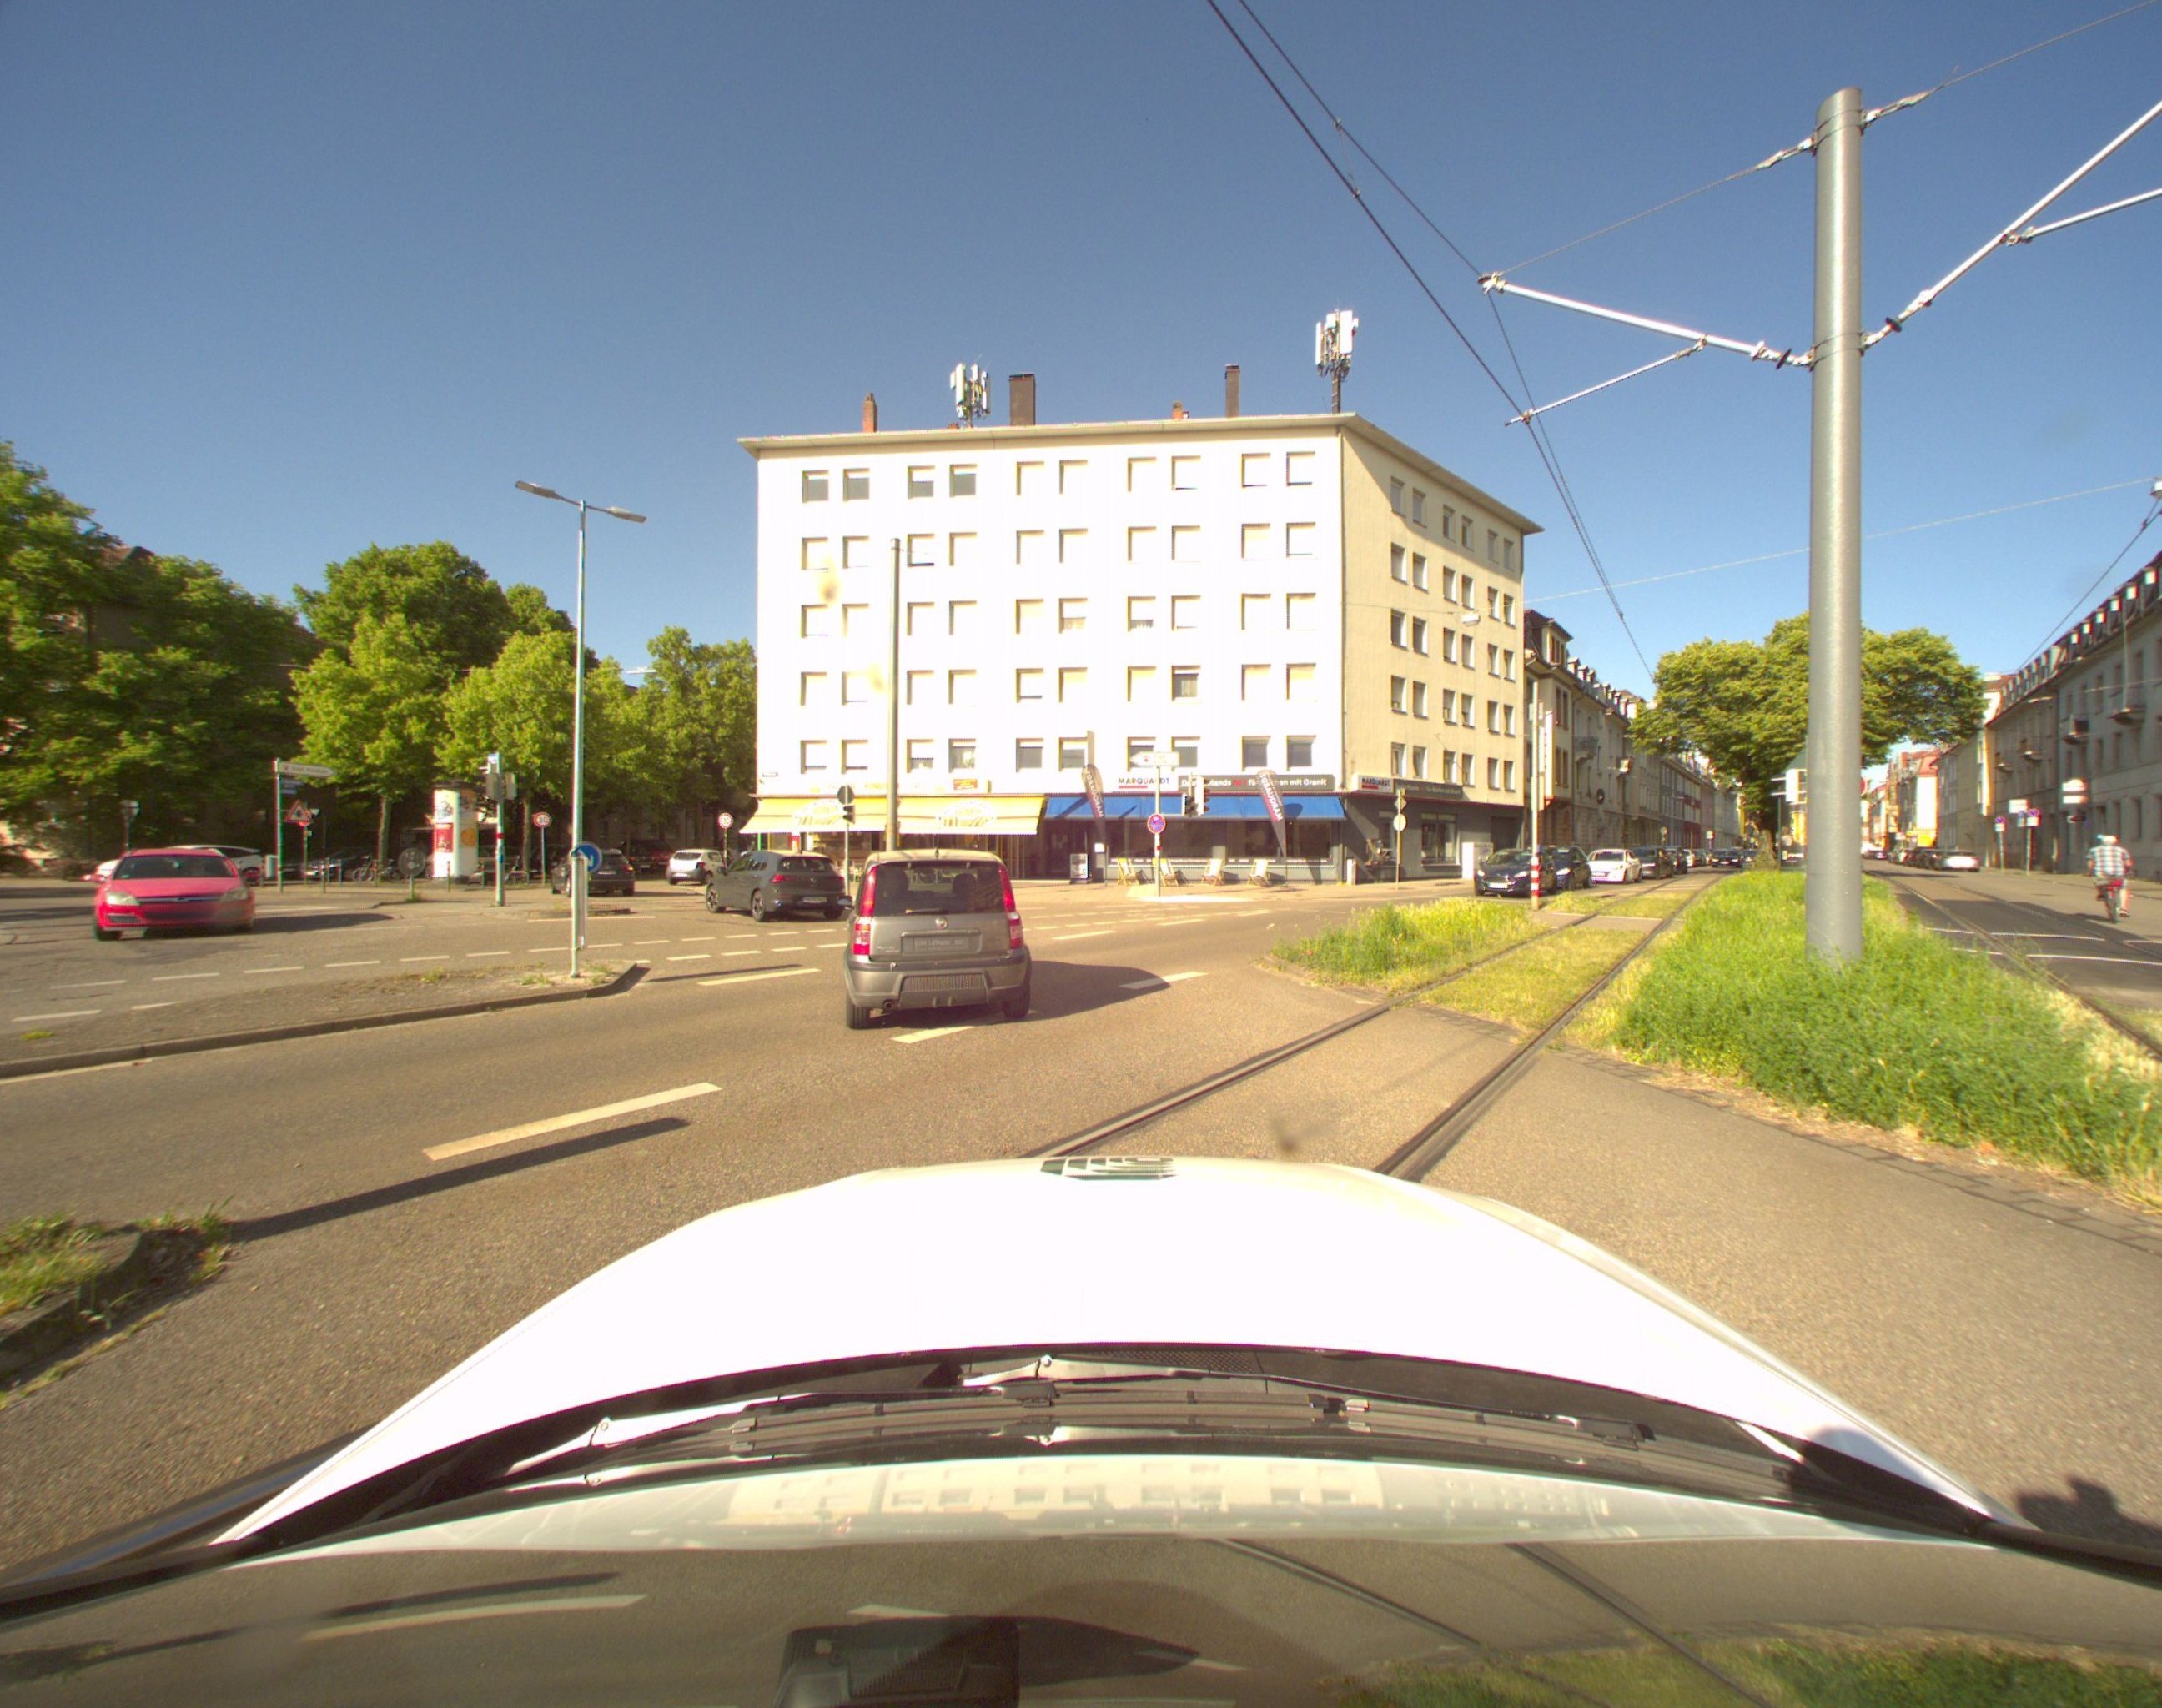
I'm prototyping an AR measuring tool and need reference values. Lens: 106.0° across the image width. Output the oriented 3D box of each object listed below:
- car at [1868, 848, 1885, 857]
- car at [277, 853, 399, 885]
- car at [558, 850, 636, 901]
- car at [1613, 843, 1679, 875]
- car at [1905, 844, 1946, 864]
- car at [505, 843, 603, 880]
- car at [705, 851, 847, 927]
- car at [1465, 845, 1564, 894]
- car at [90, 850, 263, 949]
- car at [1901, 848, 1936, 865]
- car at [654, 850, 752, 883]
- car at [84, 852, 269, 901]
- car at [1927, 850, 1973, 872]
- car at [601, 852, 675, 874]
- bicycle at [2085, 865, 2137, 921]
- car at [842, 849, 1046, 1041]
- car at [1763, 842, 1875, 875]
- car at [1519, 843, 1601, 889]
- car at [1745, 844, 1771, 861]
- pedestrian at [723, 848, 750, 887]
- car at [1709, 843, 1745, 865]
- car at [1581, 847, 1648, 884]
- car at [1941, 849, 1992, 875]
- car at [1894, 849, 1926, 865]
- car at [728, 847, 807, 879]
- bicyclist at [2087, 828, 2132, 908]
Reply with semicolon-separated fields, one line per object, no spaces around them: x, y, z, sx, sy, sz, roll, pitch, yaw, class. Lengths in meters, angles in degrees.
112.899;-0.220;115.578;1.661;1.366;3.718;1;1;45;car
-32.224;0.622;35.470;1.585;1.293;3.712;0;1;9;car
-15.787;0.633;26.456;1.774;1.486;4.246;0;1;-37;car
27.477;0.207;39.554;1.975;1.473;4.023;1;1;45;car
65.940;-0.009;63.671;1.917;1.468;4.025;1;2;42;car
-23.809;0.325;36.870;3.284;1.602;1.671;0;1;1;car
-6.604;0.659;17.448;1.635;1.429;3.644;0;1;-42;car
13.434;0.424;25.149;1.773;1.395;3.747;0;1;43;car
-16.340;0.694;14.647;4.485;1.489;1.766;0;1;38;car
76.109;0.215;74.022;1.917;1.468;4.025;1;2;42;car
-16.301;0.493;35.340;1.982;1.310;4.009;0;1;8;car
-33.122;0.751;30.012;1.749;1.617;4.240;1;1;11;car
63.262;0.448;59.362;1.917;1.468;4.025;1;2;42;car
-25.212;0.486;46.429;3.461;1.190;1.648;0;1;-40;car
20.637;0.755;16.341;1.867;1.032;0.582;-1;1;-40;bicycle
-1.514;0.708;8.241;1.663;1.510;3.234;0;0;-15;car
36.919;0.189;40.899;1.901;1.593;3.994;0;1;-4;car
17.393;0.397;29.523;1.773;1.565;3.789;0;1;43;car
72.187;-0.199;86.780;1.975;1.750;4.024;0;1;42;car
-14.756;0.564;34.864;0.789;1.621;0.829;0;0;-3;pedestrian
52.124;-0.013;65.687;1.975;1.750;4.024;0;1;42;car
22.694;0.452;34.601;1.773;1.482;3.553;0;1;43;car
59.063;0.535;54.364;1.975;1.618;4.024;1;0;43;car
80.271;0.298;78.876;1.917;1.468;4.025;1;2;42;car
-15.750;0.419;41.159;1.924;1.512;3.950;0;1;10;car
20.783;0.269;16.462;0.828;1.559;0.555;0;0;-38;bicyclist
